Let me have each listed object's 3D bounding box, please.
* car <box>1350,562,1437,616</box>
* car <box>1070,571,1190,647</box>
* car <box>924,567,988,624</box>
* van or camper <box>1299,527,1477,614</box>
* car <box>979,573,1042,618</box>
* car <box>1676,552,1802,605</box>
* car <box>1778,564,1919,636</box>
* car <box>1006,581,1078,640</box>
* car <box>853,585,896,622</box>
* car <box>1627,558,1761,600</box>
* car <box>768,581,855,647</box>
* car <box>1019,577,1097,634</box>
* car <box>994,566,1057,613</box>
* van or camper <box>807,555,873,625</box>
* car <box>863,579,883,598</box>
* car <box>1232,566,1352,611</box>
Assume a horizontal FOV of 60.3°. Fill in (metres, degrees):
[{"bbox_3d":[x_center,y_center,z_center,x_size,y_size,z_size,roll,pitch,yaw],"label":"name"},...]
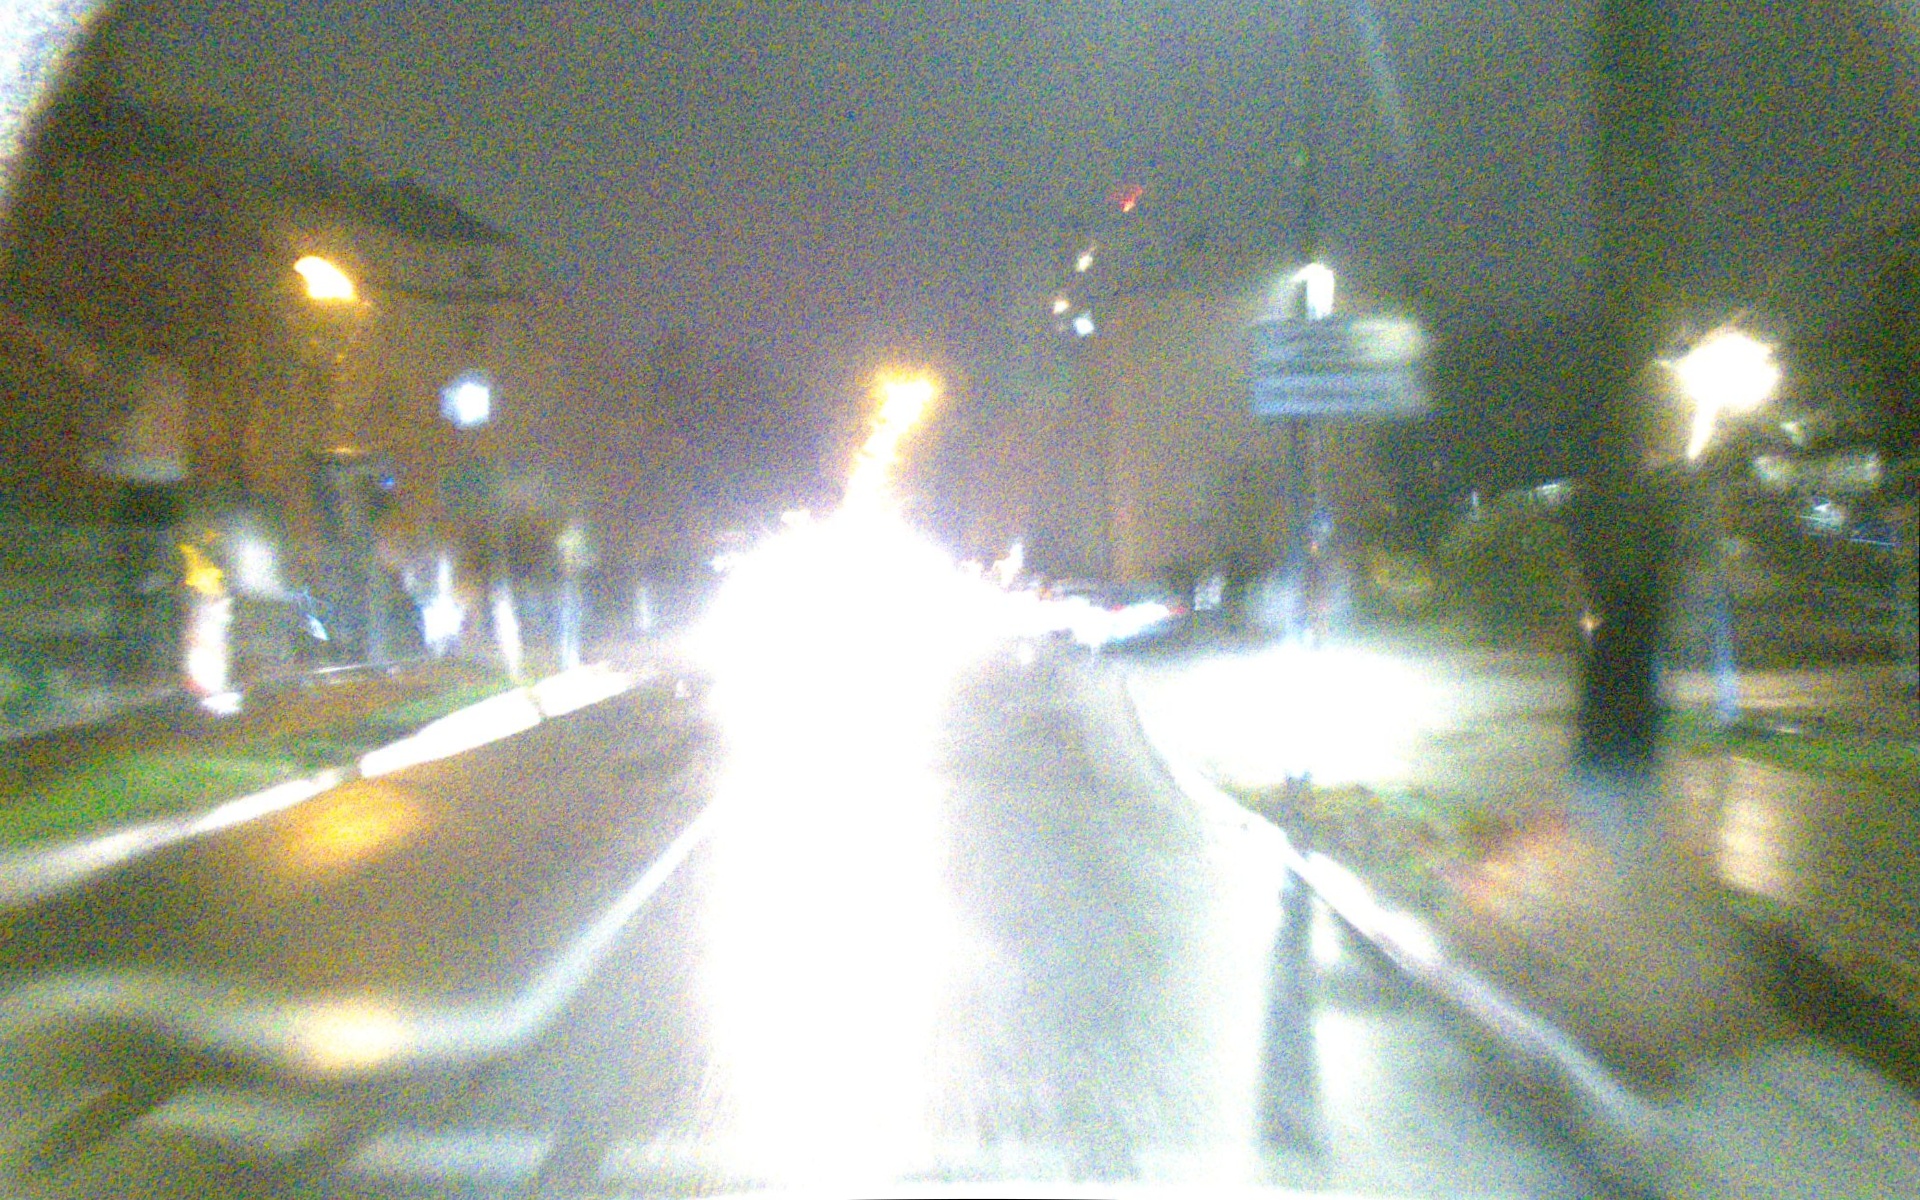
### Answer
[{"bbox_3d":[12.458,-0.340,47.723,1.531,1.495,3.407,-1,1,-2],"label":"car"},{"bbox_3d":[3.642,0.147,36.269,1.754,1.474,4.787,-2,1,-4],"label":"car"},{"bbox_3d":[-0.162,-0.176,54.394,1.953,1.713,3.999,0,2,-2],"label":"car"},{"bbox_3d":[13.283,-0.922,51.558,4.959,2.571,2.171,-1,1,0],"label":"van or camper"},{"bbox_3d":[1.932,-0.213,64.452,1.844,1.599,4.523,-3,1,-5],"label":"car"},{"bbox_3d":[22.412,-0.622,47.766,1.644,1.438,4.260,-1,1,0],"label":"car"},{"bbox_3d":[20.057,-0.008,36.538,1.789,1.493,4.258,1,0,-1],"label":"car"},{"bbox_3d":[2.595,0.296,53.322,1.680,1.737,4.182,-3,1,-5],"label":"car"},{"bbox_3d":[-3.697,0.146,71.389,1.760,1.486,4.575,2,0,-3],"label":"car"},{"bbox_3d":[25.256,-0.723,56.948,3.909,1.377,1.680,-1,1,-5],"label":"car"},{"bbox_3d":[-3.542,0.295,39.984,1.709,1.458,4.000,-2,1,0],"label":"car"},{"bbox_3d":[2.757,0.147,47.366,1.679,1.515,4.433,-1,0,-4],"label":"car"},{"bbox_3d":[2.315,-0.391,59.249,1.720,1.555,4.150,-3,1,-4],"label":"car"},{"bbox_3d":[-3.812,-0.324,53.326,1.832,2.140,4.941,-1,0,-1],"label":"van or camper"},{"bbox_3d":[-8.531,-1.158,161.248,1.777,1.739,3.800,-2,1,-5],"label":"car"},{"bbox_3d":[11.832,-0.423,59.074,3.908,1.547,1.684,-1,1,-4],"label":"car"}]
